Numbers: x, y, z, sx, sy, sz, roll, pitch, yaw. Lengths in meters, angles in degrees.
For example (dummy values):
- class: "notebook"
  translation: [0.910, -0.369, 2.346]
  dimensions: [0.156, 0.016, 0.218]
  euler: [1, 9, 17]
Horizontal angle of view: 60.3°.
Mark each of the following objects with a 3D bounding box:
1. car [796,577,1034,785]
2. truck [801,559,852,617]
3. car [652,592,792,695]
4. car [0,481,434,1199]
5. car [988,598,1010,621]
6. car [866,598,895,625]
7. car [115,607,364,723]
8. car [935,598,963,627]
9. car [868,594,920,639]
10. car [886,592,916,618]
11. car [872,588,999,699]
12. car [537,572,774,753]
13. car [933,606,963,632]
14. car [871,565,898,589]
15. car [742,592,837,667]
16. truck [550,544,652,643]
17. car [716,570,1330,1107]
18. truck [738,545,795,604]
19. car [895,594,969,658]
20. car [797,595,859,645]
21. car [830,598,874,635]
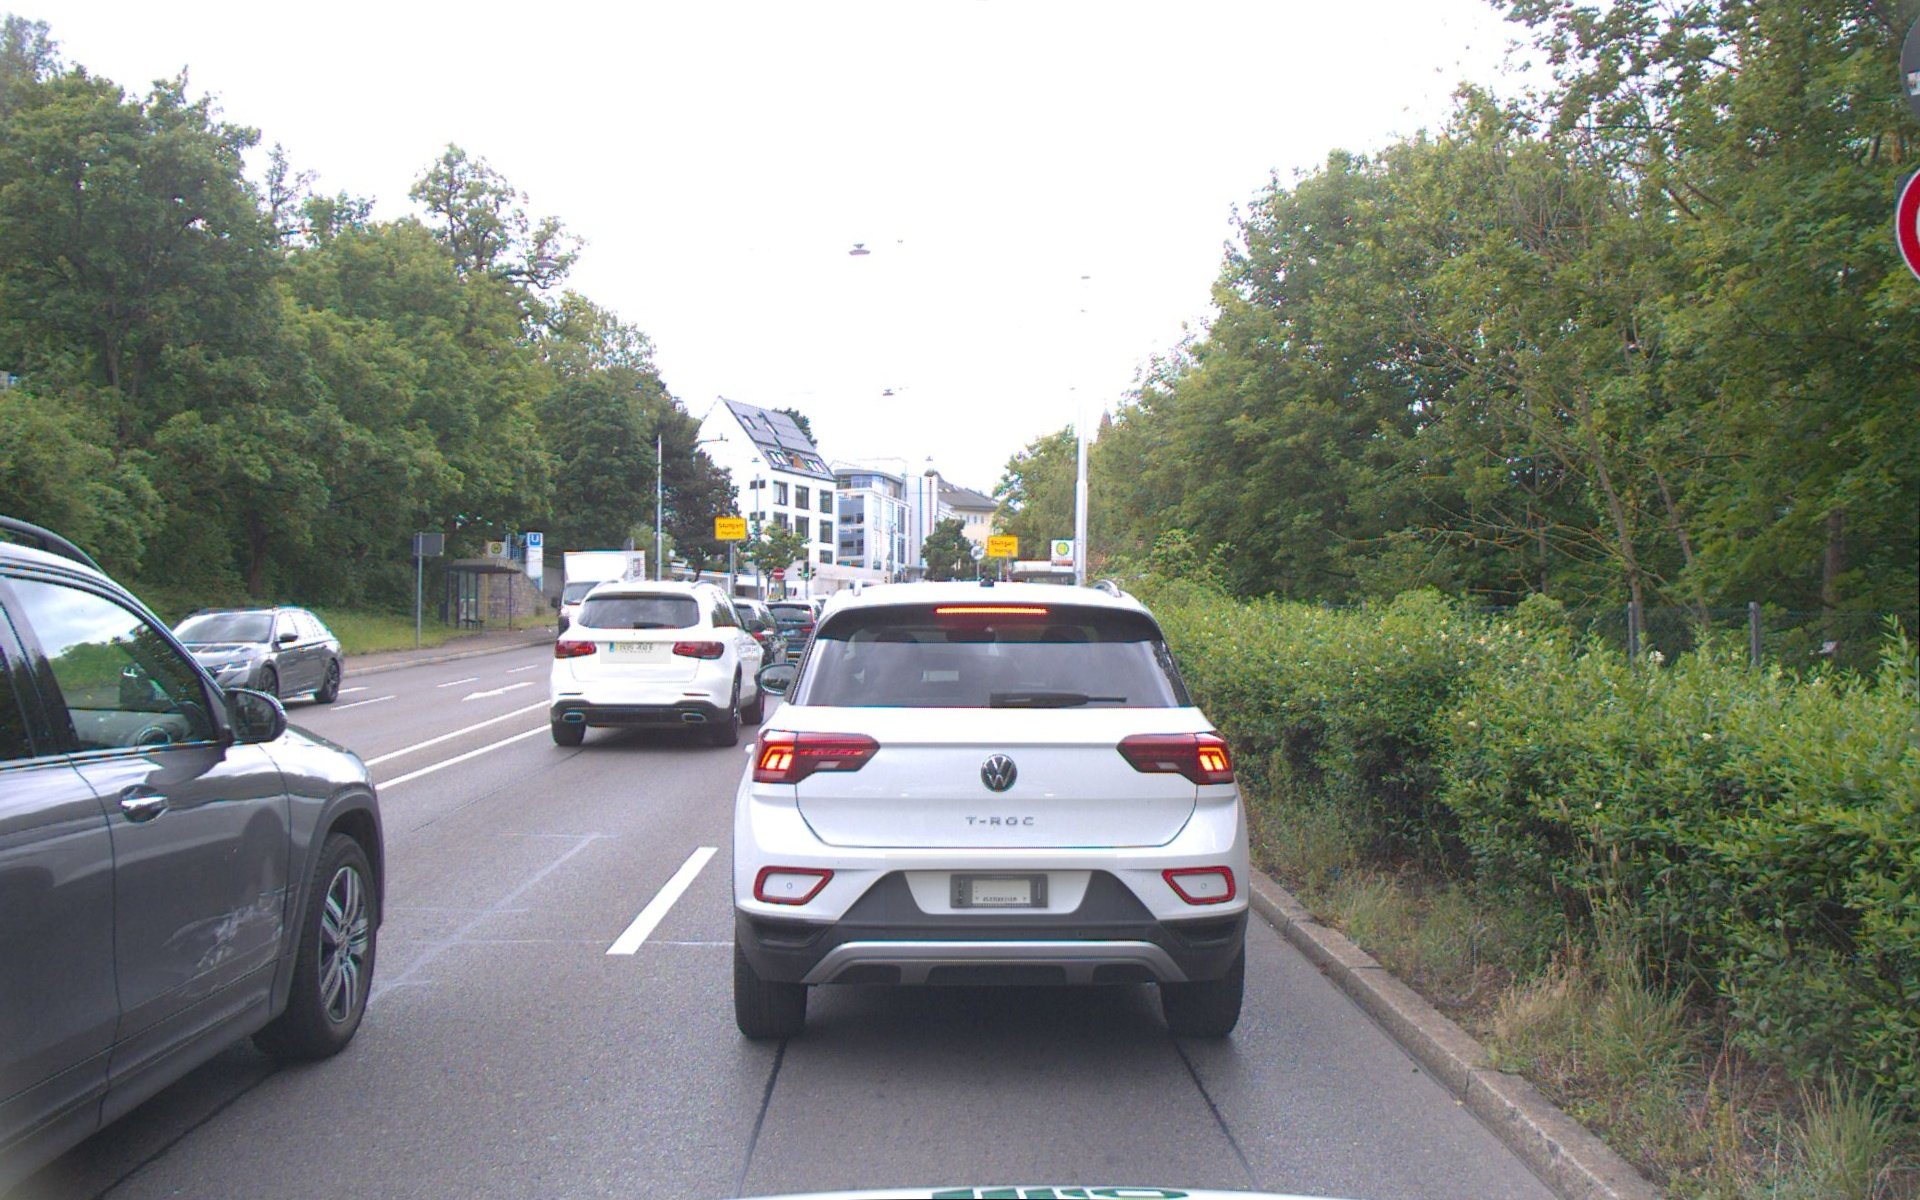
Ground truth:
- class: "car"
  translation: [-0.400, 0.612, 14.596]
  dimensions: [1.792, 1.552, 3.999]
  euler: [-1, 0, -2]
- class: "truck"
  translation: [-6.864, -0.610, 85.290]
  dimensions: [2.315, 2.830, 4.476]
  euler: [-1, 0, -2]
- class: "car"
  translation: [-3.793, 0.657, 26.922]
  dimensions: [1.792, 1.523, 3.999]
  euler: [-1, 0, -2]
- class: "car"
  translation: [-2.699, 0.617, 3.686]
  dimensions: [1.812, 1.680, 4.355]
  euler: [0, 0, -2]
- class: "car"
  translation: [3.722, 0.916, 156.846]
  dimensions: [1.953, 2.049, 3.999]
  euler: [-1, -1, 0]
- class: "car"
  translation: [-5.237, 0.749, 109.010]
  dimensions: [1.778, 1.685, 3.927]
  euler: [-1, 0, -2]
- class: "car"
  translation: [-9.952, 0.836, 23.226]
  dimensions: [1.645, 1.420, 4.359]
  euler: [-1, 0, -2]
- class: "car"
  translation: [-0.794, 0.942, 121.204]
  dimensions: [1.953, 2.049, 3.999]
  euler: [-1, -1, 0]
- class: "car"
  translation: [-2.379, 0.583, 60.322]
  dimensions: [1.792, 1.552, 3.999]
  euler: [-1, 0, -2]
- class: "car"
  translation: [-3.673, 0.316, 103.755]
  dimensions: [1.792, 1.552, 3.999]
  euler: [-1, 0, -2]
- class: "car"
  translation: [-0.408, 0.618, 25.591]
  dimensions: [1.792, 1.552, 3.999]
  euler: [-1, 0, -2]
- class: "car"
  translation: [-3.114, 0.589, 17.693]
  dimensions: [1.879, 1.698, 3.999]
  euler: [1, 0, -2]
- class: "car"
  translation: [-0.755, 1.178, 103.570]
  dimensions: [1.792, 1.552, 3.999]
  euler: [-1, 0, -2]
- class: "car"
  translation: [-5.290, -1.610, 116.599]
  dimensions: [1.792, 1.552, 3.999]
  euler: [-1, 0, -2]
- class: "car"
  translation: [-3.764, 0.624, 37.047]
  dimensions: [1.792, 1.552, 3.999]
  euler: [-1, 0, -2]
- class: "truck"
  translation: [-12.079, -0.201, 56.197]
  dimensions: [2.247, 3.104, 6.975]
  euler: [-1, 0, -3]
- class: "car"
  translation: [0.133, 0.686, 6.829]
  dimensions: [1.792, 1.552, 3.999]
  euler: [0, 0, -2]
- class: "truck"
  translation: [-9.388, -1.223, 80.549]
  dimensions: [2.315, 2.754, 4.476]
  euler: [-1, 0, -2]
- class: "car"
  translation: [-0.741, 0.638, 42.687]
  dimensions: [1.792, 1.552, 3.999]
  euler: [-1, 0, -2]
- class: "car"
  translation: [-4.311, 0.634, 54.407]
  dimensions: [1.792, 1.552, 3.999]
  euler: [-1, 0, -2]
- class: "car"
  translation: [-4.729, 0.713, 72.990]
  dimensions: [1.792, 1.552, 3.999]
  euler: [-1, 0, -2]
